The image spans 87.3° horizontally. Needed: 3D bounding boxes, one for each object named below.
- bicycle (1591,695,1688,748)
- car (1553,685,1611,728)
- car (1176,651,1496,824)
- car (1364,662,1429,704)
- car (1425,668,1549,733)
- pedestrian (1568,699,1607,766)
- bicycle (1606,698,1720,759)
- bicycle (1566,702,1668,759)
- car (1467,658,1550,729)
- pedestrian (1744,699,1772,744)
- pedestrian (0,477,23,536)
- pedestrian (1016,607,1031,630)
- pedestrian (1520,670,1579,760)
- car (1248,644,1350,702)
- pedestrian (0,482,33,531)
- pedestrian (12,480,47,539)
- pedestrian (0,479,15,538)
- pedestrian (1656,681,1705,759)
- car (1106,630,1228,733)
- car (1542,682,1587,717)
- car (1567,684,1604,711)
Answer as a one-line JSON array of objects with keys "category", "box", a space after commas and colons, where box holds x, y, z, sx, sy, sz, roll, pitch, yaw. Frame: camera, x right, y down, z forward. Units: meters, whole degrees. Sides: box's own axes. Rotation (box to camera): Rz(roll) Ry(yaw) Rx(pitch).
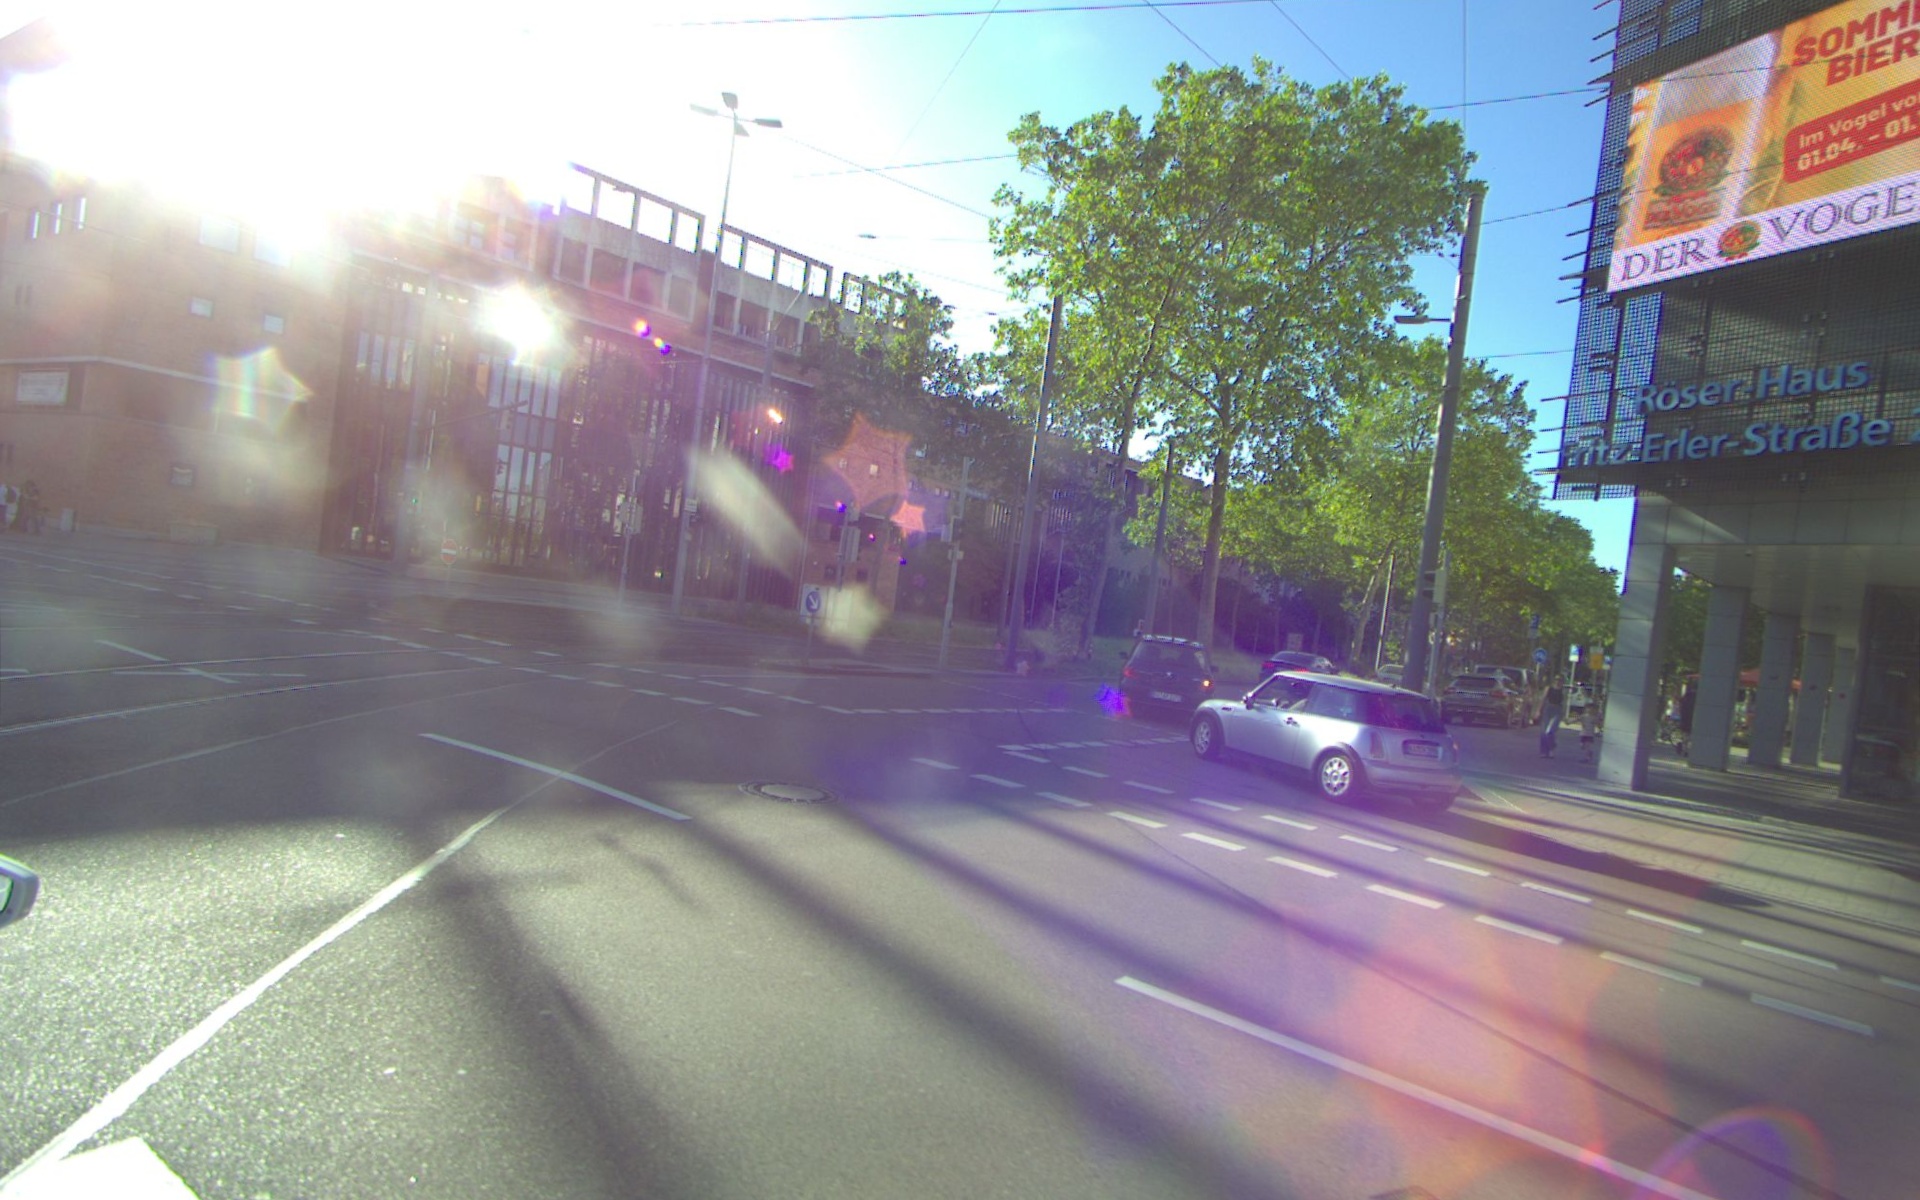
[{"category": "bicycle", "box": [21.752, 3.870, 32.263, 2.353, 1.229, 0.774, 9, 1, 28]}, {"category": "car", "box": [27.187, 4.622, 44.086, 1.835, 1.493, 3.971, 7, 0, 30]}, {"category": "car", "box": [4.530, 1.619, 12.661, 1.645, 1.406, 3.515, 8, 0, -24]}, {"category": "car", "box": [18.418, 3.509, 42.379, 1.673, 1.493, 3.971, 8, 0, 34]}, {"category": "car", "box": [15.252, 2.918, 29.028, 3.952, 1.493, 1.844, 8, 0, -43]}, {"category": "pedestrian", "box": [12.319, 2.592, 19.745, 0.437, 1.225, 0.459, 9, 1, 42]}, {"category": "bicycle", "box": [19.588, 3.567, 28.090, 0.770, 1.228, 2.366, 8, 1, -41]}, {"category": "bicycle", "box": [19.598, 3.884, 30.075, 2.353, 1.229, 0.774, 9, 1, 28]}, {"category": "car", "box": [18.755, 3.172, 34.318, 1.838, 2.041, 4.445, 8, 0, 35]}, {"category": "pedestrian", "box": [32.937, 5.018, 41.507, 0.788, 1.754, 0.629, 8, -1, -42]}, {"category": "pedestrian", "box": [-30.790, -3.026, 32.468, 0.539, 1.809, 0.572, 7, 2, 27]}, {"category": "pedestrian", "box": [4.901, 1.431, 77.911, 0.797, 1.626, 0.687, 8, 1, 23]}, {"category": "pedestrian", "box": [11.655, 2.269, 19.882, 0.652, 1.661, 0.789, 9, 1, 42]}, {"category": "car", "box": [10.841, 2.347, 32.004, 1.675, 1.457, 4.004, 7, -1, 39]}, {"category": "pedestrian", "box": [-31.415, -3.109, 33.450, 0.562, 1.496, 0.549, 8, 1, 17]}, {"category": "pedestrian", "box": [-30.314, -2.956, 32.783, 0.539, 1.809, 0.572, 7, 2, 27]}, {"category": "pedestrian", "box": [-30.329, -2.898, 31.682, 0.539, 1.809, 0.572, 7, 2, 27]}, {"category": "pedestrian", "box": [17.364, 2.890, 24.250, 0.787, 1.754, 0.581, 8, -1, -36]}, {"category": "car", "box": [3.797, 1.436, 19.088, 1.832, 1.493, 3.979, 7, 0, 8]}, {"category": "car", "box": [32.354, 5.290, 53.927, 1.835, 1.493, 3.971, 7, 0, 30]}, {"category": "car", "box": [42.230, 6.572, 67.983, 1.835, 1.493, 3.971, 7, 0, 30]}]
